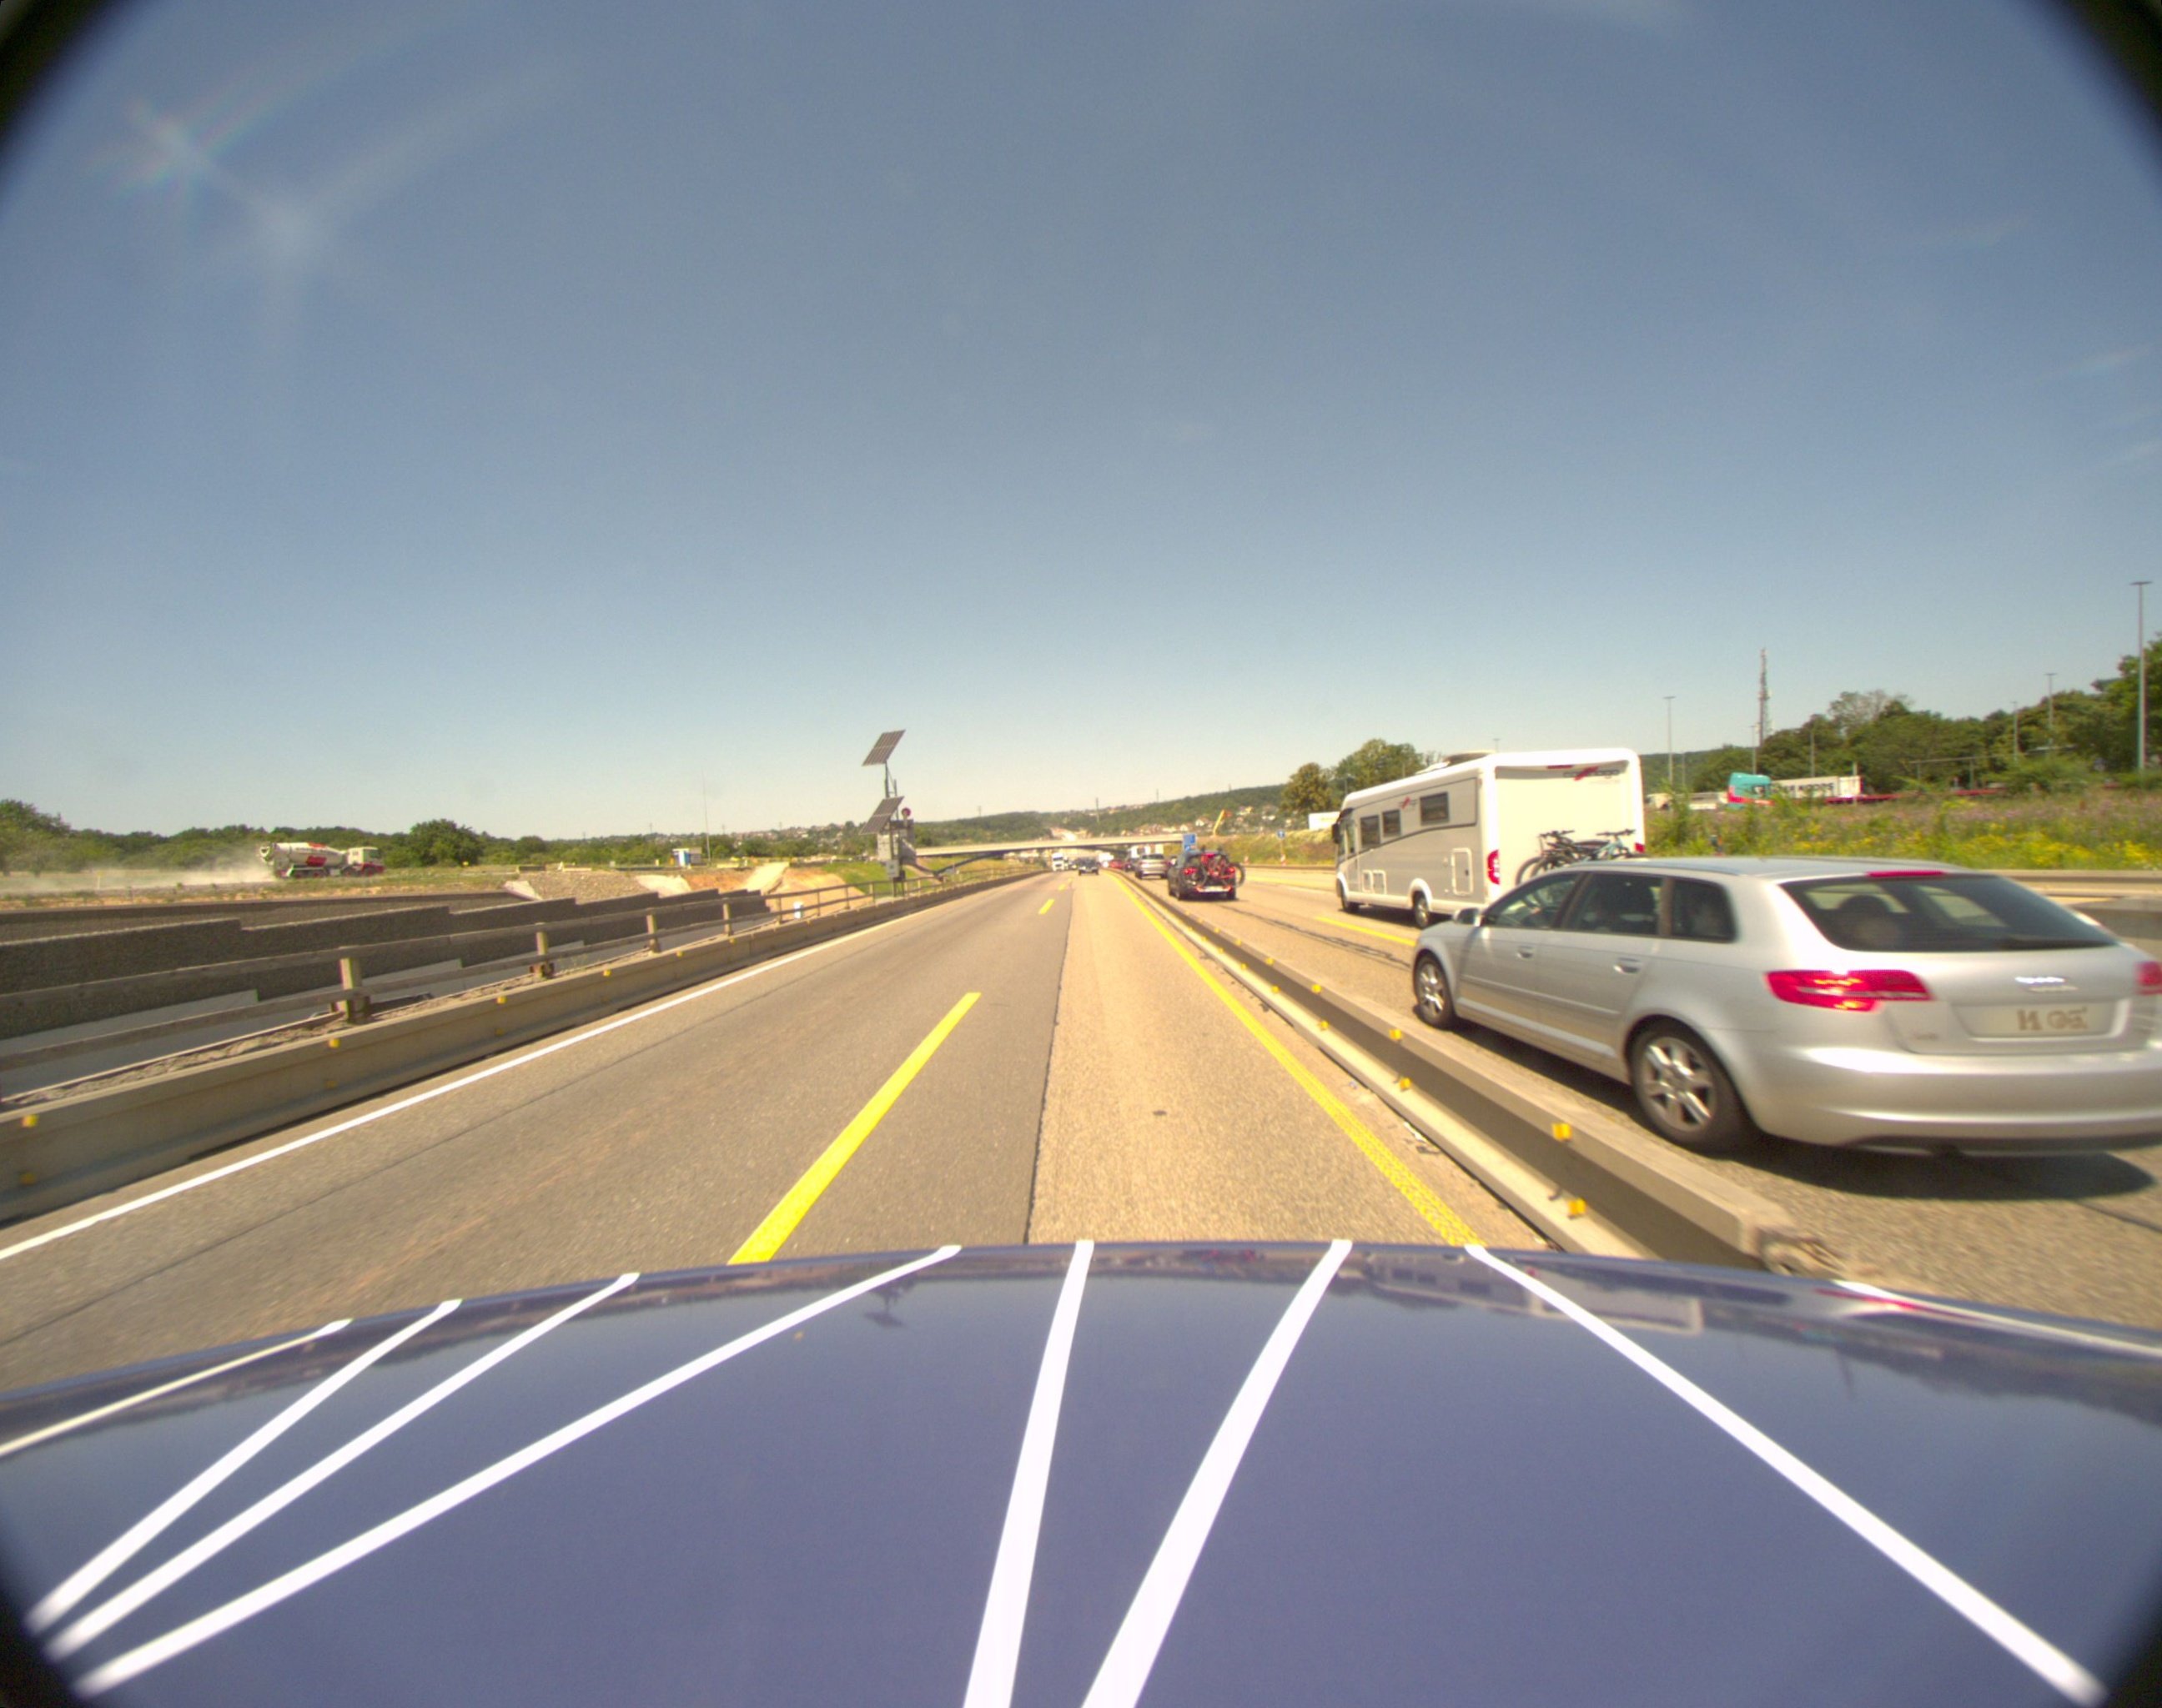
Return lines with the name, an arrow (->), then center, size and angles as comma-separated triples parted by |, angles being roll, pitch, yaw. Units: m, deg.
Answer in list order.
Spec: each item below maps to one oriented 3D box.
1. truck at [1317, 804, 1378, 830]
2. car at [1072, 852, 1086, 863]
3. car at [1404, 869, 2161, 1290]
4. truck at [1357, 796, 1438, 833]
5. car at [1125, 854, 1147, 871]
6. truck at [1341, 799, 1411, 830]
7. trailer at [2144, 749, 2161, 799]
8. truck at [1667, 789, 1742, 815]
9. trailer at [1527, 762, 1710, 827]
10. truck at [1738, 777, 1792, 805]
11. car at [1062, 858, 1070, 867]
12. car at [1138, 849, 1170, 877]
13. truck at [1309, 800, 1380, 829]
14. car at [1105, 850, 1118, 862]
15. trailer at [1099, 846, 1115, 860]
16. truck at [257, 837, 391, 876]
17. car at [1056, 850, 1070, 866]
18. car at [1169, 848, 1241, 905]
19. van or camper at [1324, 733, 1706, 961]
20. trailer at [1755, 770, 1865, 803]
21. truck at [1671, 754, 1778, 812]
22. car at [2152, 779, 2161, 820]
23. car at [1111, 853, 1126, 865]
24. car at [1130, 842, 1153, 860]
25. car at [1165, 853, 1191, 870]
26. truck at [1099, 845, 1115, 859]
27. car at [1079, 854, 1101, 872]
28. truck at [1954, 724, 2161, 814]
truck -> 44.913, -6.222, 128.062 | 9.135, 3.522, 2.696 | -5, 1, 43
car -> -0.287, 0.537, 111.881 | 1.847, 1.573, 4.000 | -2, 1, 1
car -> 3.649, 0.835, 4.618 | 1.714, 1.344, 3.889 | -1, 1, 0
truck -> 45.503, -5.690, 109.631 | 9.868, 4.196, 3.590 | -5, 1, 43
car -> 4.868, 0.719, 67.338 | 1.651, 1.359, 3.944 | -1, 1, 0
truck -> 45.039, -6.033, 116.226 | 9.252, 3.653, 2.867 | -6, 1, 44
trailer -> 61.325, -4.507, 38.236 | 2.260, 2.752, 9.393 | -4, 1, -2
truck -> 74.533, -6.162, 91.091 | 2.548, 2.589, 7.777 | -3, 1, 1
trailer -> 46.001, -4.983, 65.597 | 12.347, 4.143, 2.864 | -5, 1, 45
truck -> 94.797, -8.748, 105.372 | 2.902, 3.338, 4.906 | -4, 1, -2
car -> -3.900, 2.151, 196.708 | 1.739, 2.002, 3.876 | -3, 1, 0
car -> 4.302, 0.486, 45.459 | 1.651, 1.563, 3.945 | -1, 1, 2
truck -> 46.019, -6.841, 133.031 | 11.490, 3.653, 2.535 | -6, 1, 44
car -> 4.364, 0.238, 110.207 | 1.723, 1.582, 3.797 | -3, 1, 1
trailer -> 5.741, -0.301, 167.901 | 3.397, 2.939, 9.783 | -3, 1, 2
truck -> -75.170, 0.166, 75.783 | 3.152, 3.445, 8.766 | -3, 1, 19
car -> -3.704, 0.761, 157.492 | 2.544, 3.127, 7.546 | -3, 1, 1
car -> 3.850, 0.634, 24.321 | 1.651, 1.592, 4.490 | -2, 1, 1
van or camper -> 6.949, -0.118, 13.870 | 2.443, 2.900, 7.822 | -2, 1, 0
trailer -> 95.007, -8.691, 99.456 | 2.952, 3.360, 11.702 | -3, 1, -2
truck -> 51.157, -5.588, 60.479 | 6.131, 3.729, 2.838 | -5, 1, 45
car -> 41.696, -2.080, 27.057 | 2.003, 1.499, 3.990 | -3, 1, -32
car -> 4.513, 0.565, 91.711 | 1.651, 1.359, 3.944 | -1, 1, 0
car -> 7.849, -0.390, 98.793 | 2.416, 2.106, 5.314 | -4, 1, 0
car -> 8.214, 0.642, 64.716 | 1.651, 1.359, 3.944 | -1, 1, 0
truck -> 6.014, -0.400, 175.813 | 3.397, 2.939, 6.084 | -3, 1, 2
car -> 0.768, 0.734, 64.054 | 1.810, 1.299, 4.000 | -2, 1, 1
truck -> 50.466, -4.226, 37.112 | 10.067, 3.755, 2.003 | -3, 1, 45
